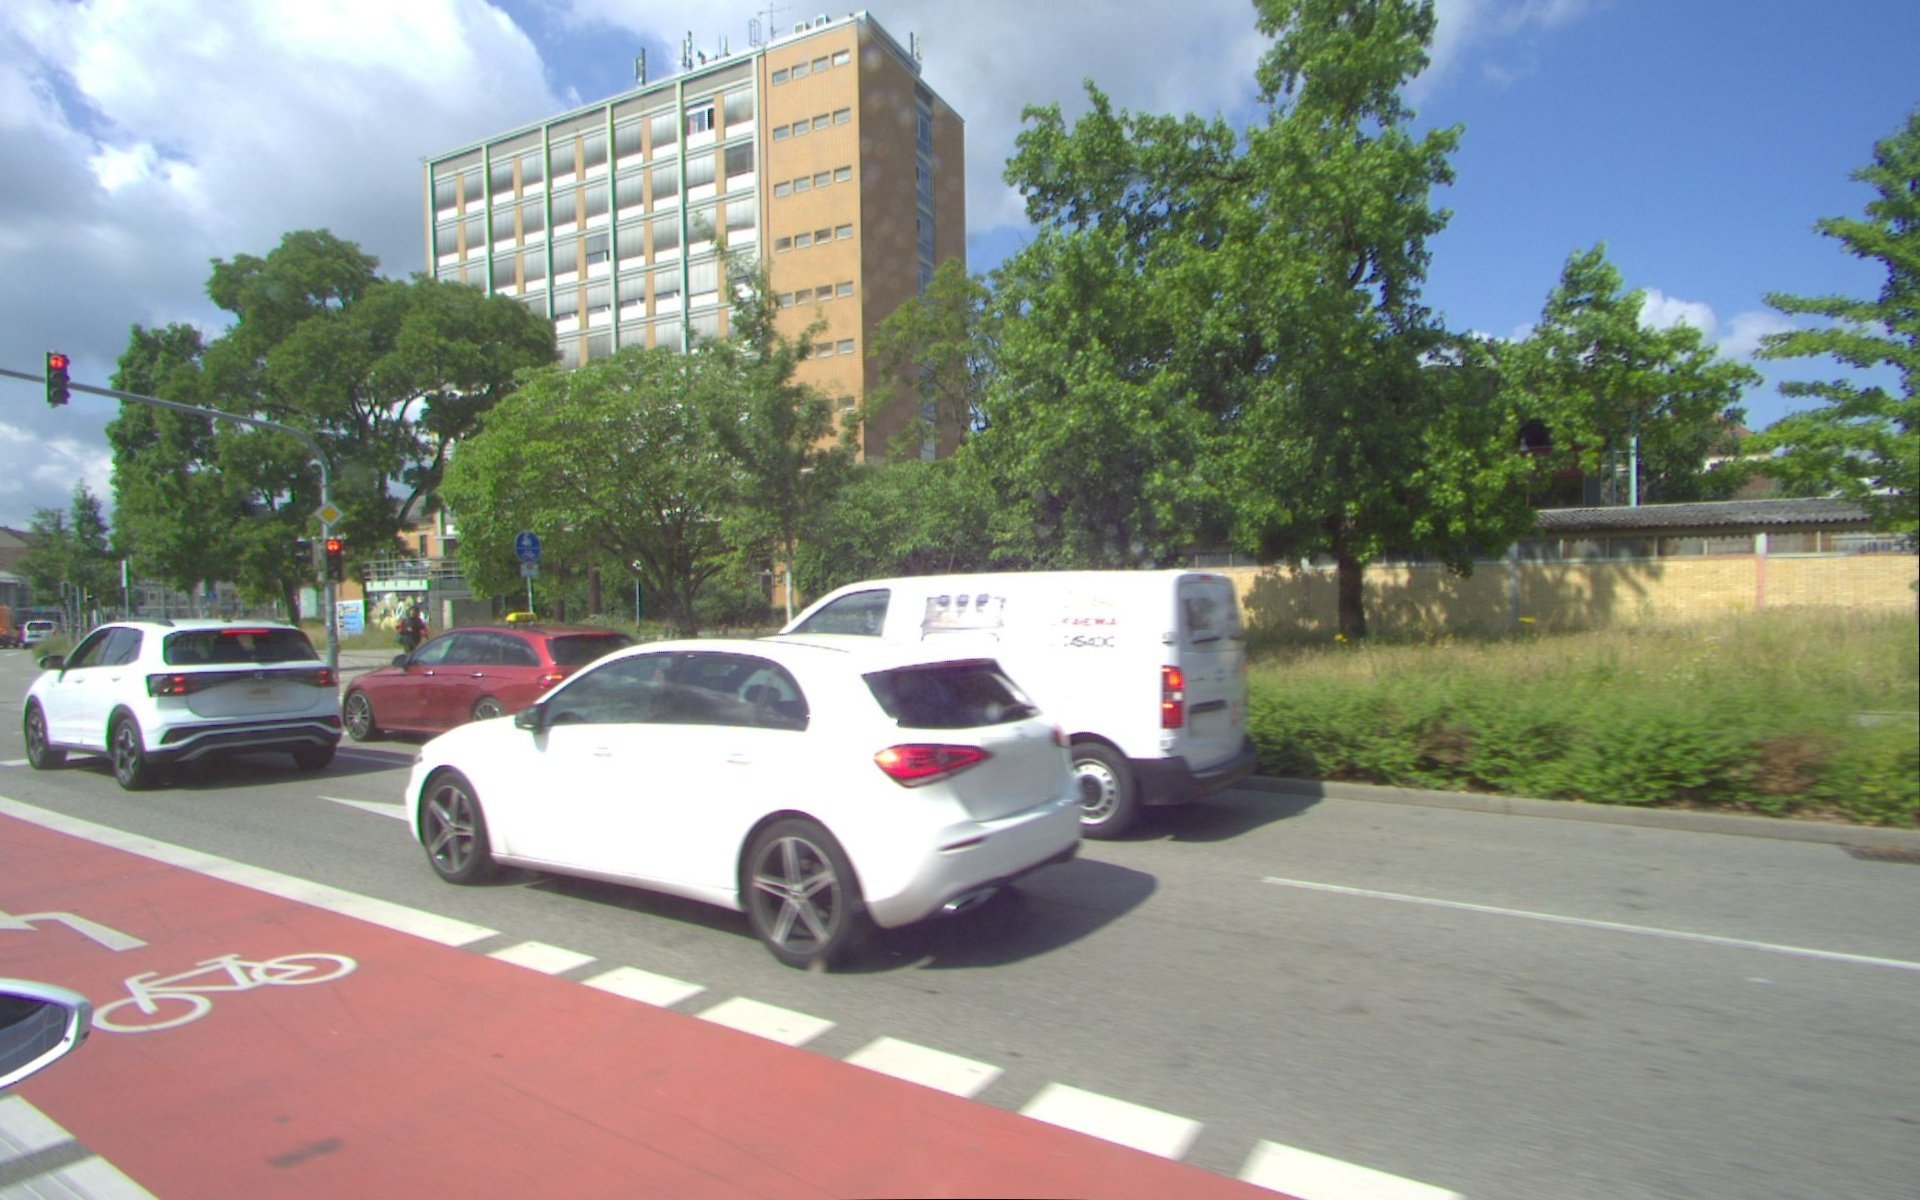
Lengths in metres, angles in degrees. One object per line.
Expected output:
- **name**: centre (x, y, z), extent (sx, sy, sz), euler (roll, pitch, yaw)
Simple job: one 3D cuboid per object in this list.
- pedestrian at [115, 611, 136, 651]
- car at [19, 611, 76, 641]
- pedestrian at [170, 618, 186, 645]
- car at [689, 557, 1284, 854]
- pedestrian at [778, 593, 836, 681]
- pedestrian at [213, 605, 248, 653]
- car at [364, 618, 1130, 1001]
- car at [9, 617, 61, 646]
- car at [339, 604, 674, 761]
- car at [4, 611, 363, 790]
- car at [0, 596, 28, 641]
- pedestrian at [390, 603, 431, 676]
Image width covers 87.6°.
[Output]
- **pedestrian**: centre (-36.689, 1.367, 44.036), extent (0.655, 1.756, 0.572), euler (-1, 1, -44)
- **car**: centre (-58.432, 1.634, 64.171), extent (1.972, 1.819, 3.977), euler (-1, 0, -32)
- **pedestrian**: centre (-51.817, 2.089, 66.366), extent (0.781, 1.807, 0.662), euler (-1, 1, -37)
- **car**: centre (0.089, 0.691, 8.497), extent (4.757, 1.895, 1.938), euler (0, 0, 33)
- **pedestrian**: centre (-2.960, 0.695, 19.384), extent (0.711, 1.660, 0.866), euler (0, 1, 33)
- **pedestrian**: centre (-23.541, 0.934, 32.322), extent (0.545, 1.528, 0.767), euler (0, 0, 37)
- **car**: centre (-1.385, 0.850, 5.858), extent (4.323, 1.443, 1.899), euler (0, 0, 33)
- **car**: centre (-67.071, 2.227, 72.683), extent (1.971, 1.964, 4.609), euler (-1, 0, -34)
- **car**: centre (-5.726, 0.898, 12.479), extent (4.399, 1.662, 1.678), euler (-1, 0, 32)
- **car**: centre (-8.243, 0.922, 10.558), extent (3.954, 1.559, 1.788), euler (-1, -2, 33)
- **car**: centre (-62.057, 1.211, 64.510), extent (2.108, 2.818, 4.609), euler (-2, 0, -34)
- **pedestrian**: centre (-13.569, 0.953, 24.731), extent (0.737, 1.758, 0.672), euler (-1, 1, -42)
